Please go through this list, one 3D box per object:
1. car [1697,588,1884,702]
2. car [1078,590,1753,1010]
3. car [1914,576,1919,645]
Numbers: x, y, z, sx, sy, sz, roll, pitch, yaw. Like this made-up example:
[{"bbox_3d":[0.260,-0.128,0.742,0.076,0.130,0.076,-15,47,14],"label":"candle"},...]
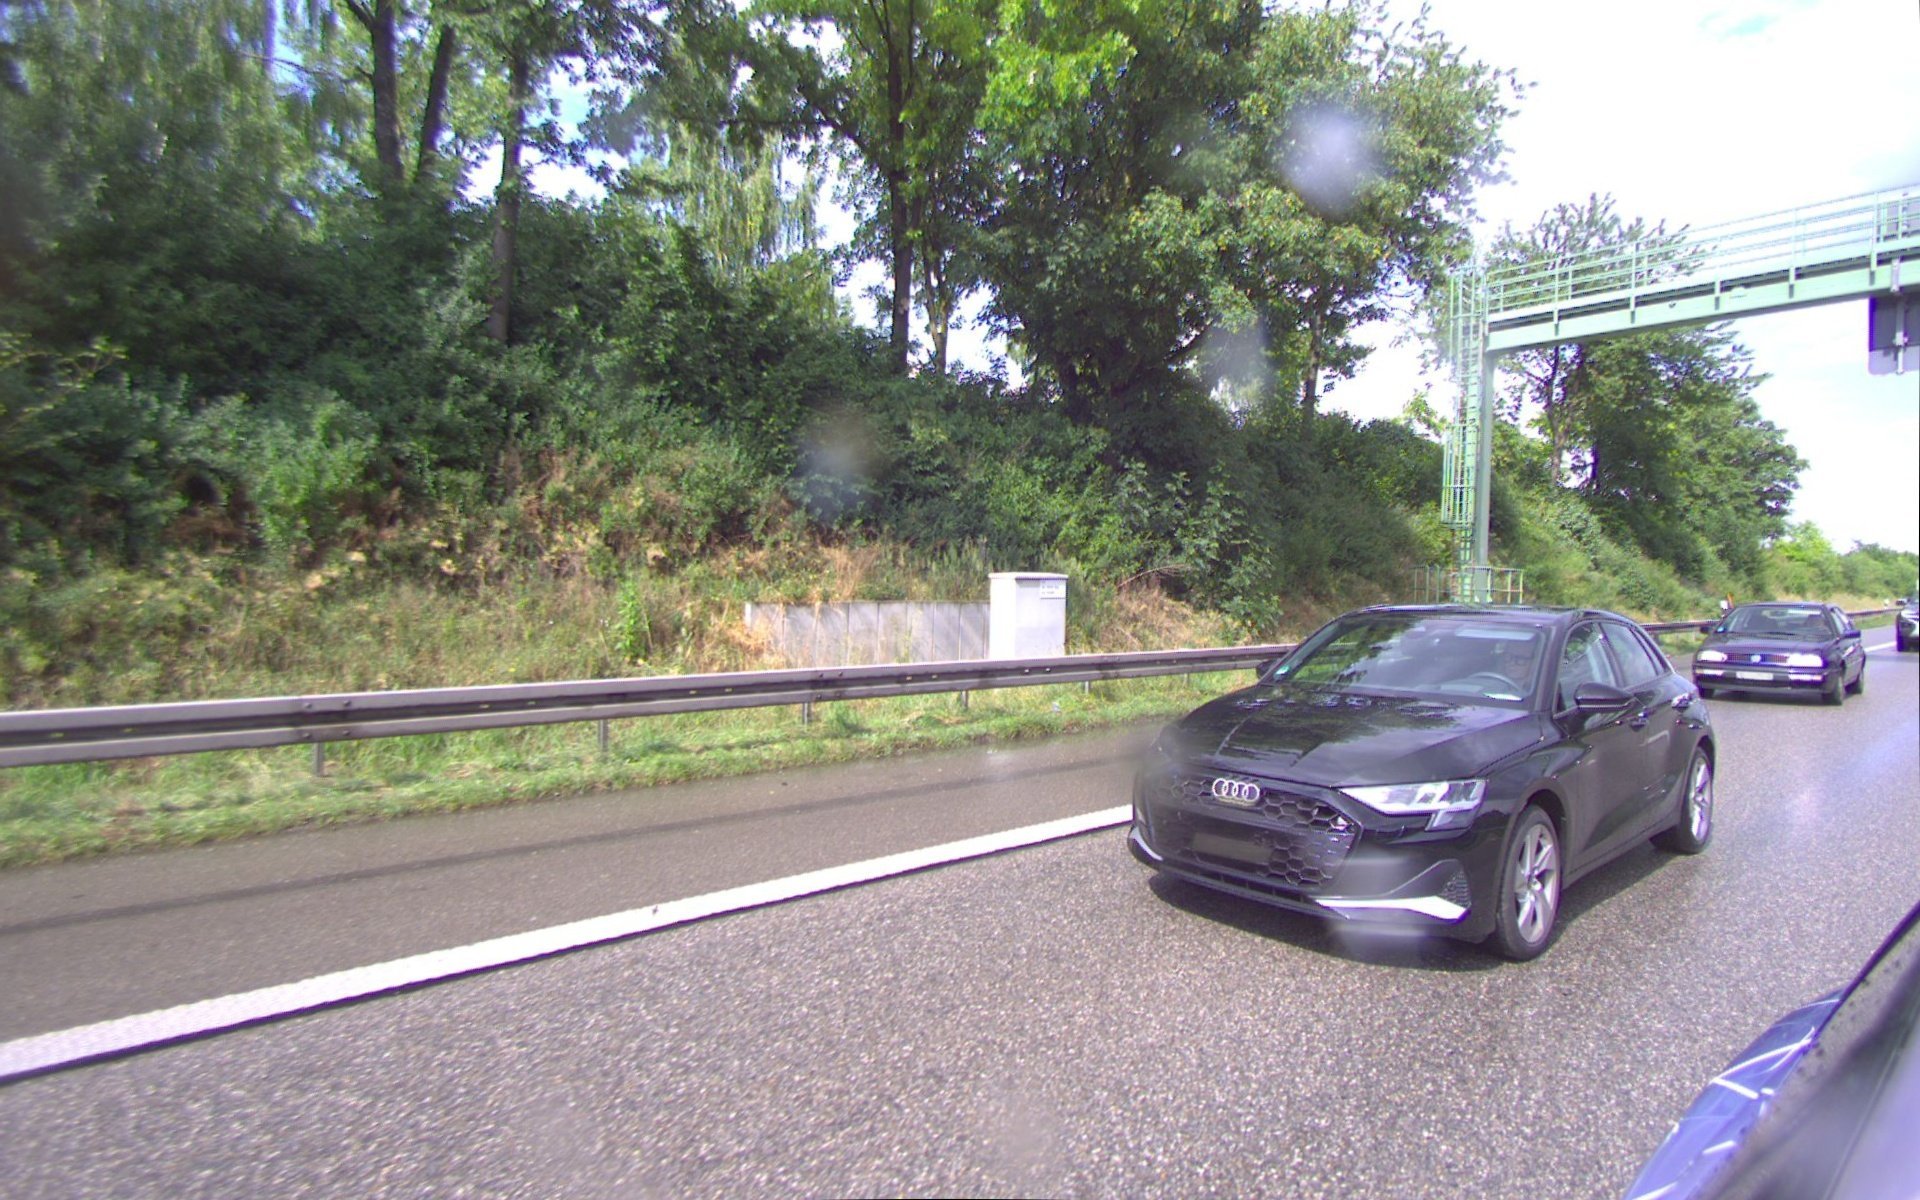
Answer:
[{"bbox_3d":[12.379,0.567,15.013,3.681,1.474,1.653,-1,1,-43],"label":"car"},{"bbox_3d":[2.736,0.656,5.520,4.292,1.414,1.758,-1,1,-41],"label":"car"},{"bbox_3d":[27.920,0.269,27.946,5.213,1.826,1.830,0,1,-41],"label":"car"}]
